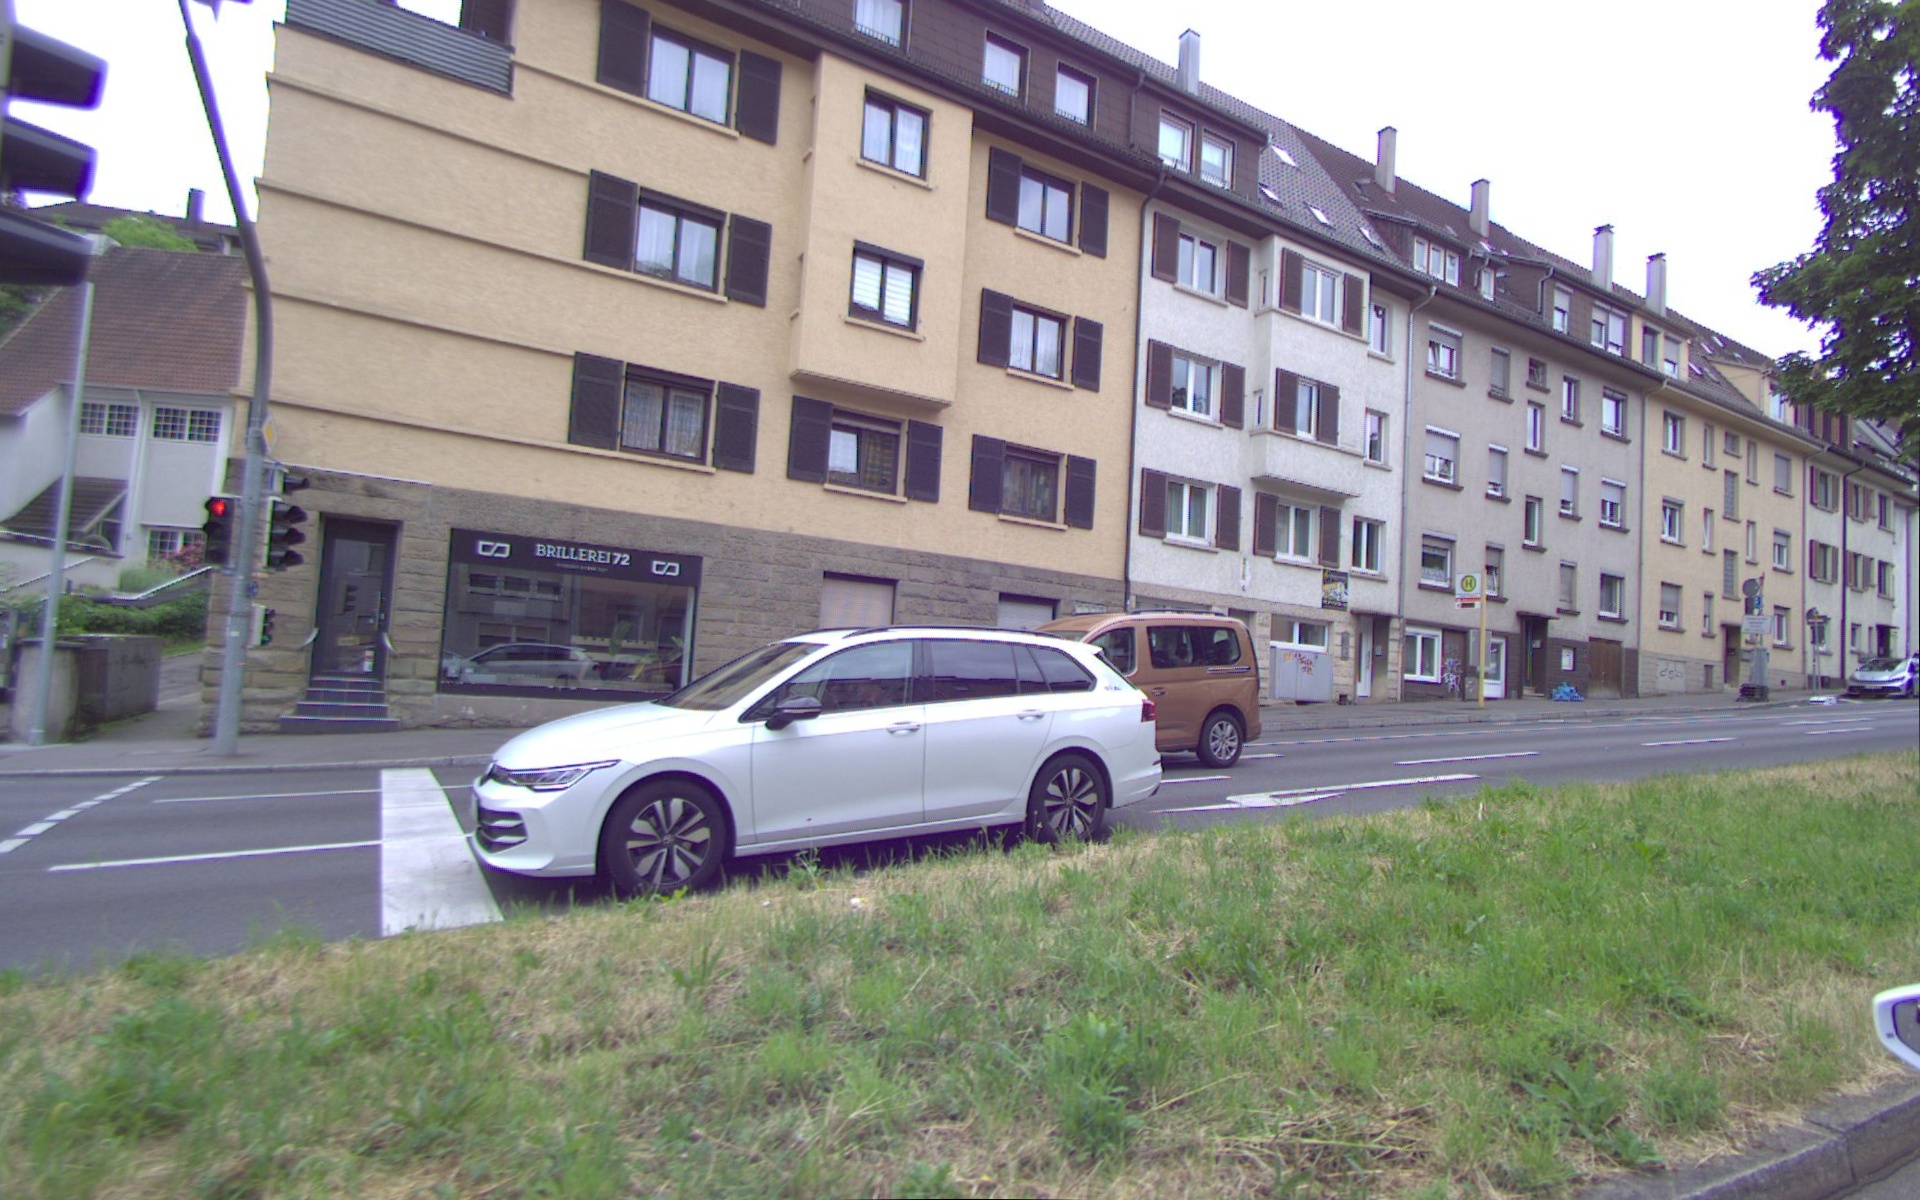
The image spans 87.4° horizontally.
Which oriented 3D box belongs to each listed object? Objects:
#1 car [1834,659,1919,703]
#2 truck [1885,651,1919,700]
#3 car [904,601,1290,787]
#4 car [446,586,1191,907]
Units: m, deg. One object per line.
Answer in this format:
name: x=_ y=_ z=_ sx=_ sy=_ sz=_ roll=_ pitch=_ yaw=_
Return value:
car: x=35.535 y=3.110 z=38.442 sx=4.112 sy=1.572 sz=1.983 roll=3 pitch=-4 yaw=-32
truck: x=40.632 y=3.156 z=41.639 sx=5.288 sy=1.945 sz=1.983 roll=3 pitch=-4 yaw=-32
car: x=1.667 y=0.996 z=11.876 sx=4.299 sy=1.839 sz=1.871 roll=1 pitch=-2 yaw=-30
car: x=-0.760 y=0.808 z=6.607 sx=4.534 sy=1.486 sz=1.737 roll=3 pitch=-3 yaw=-31
